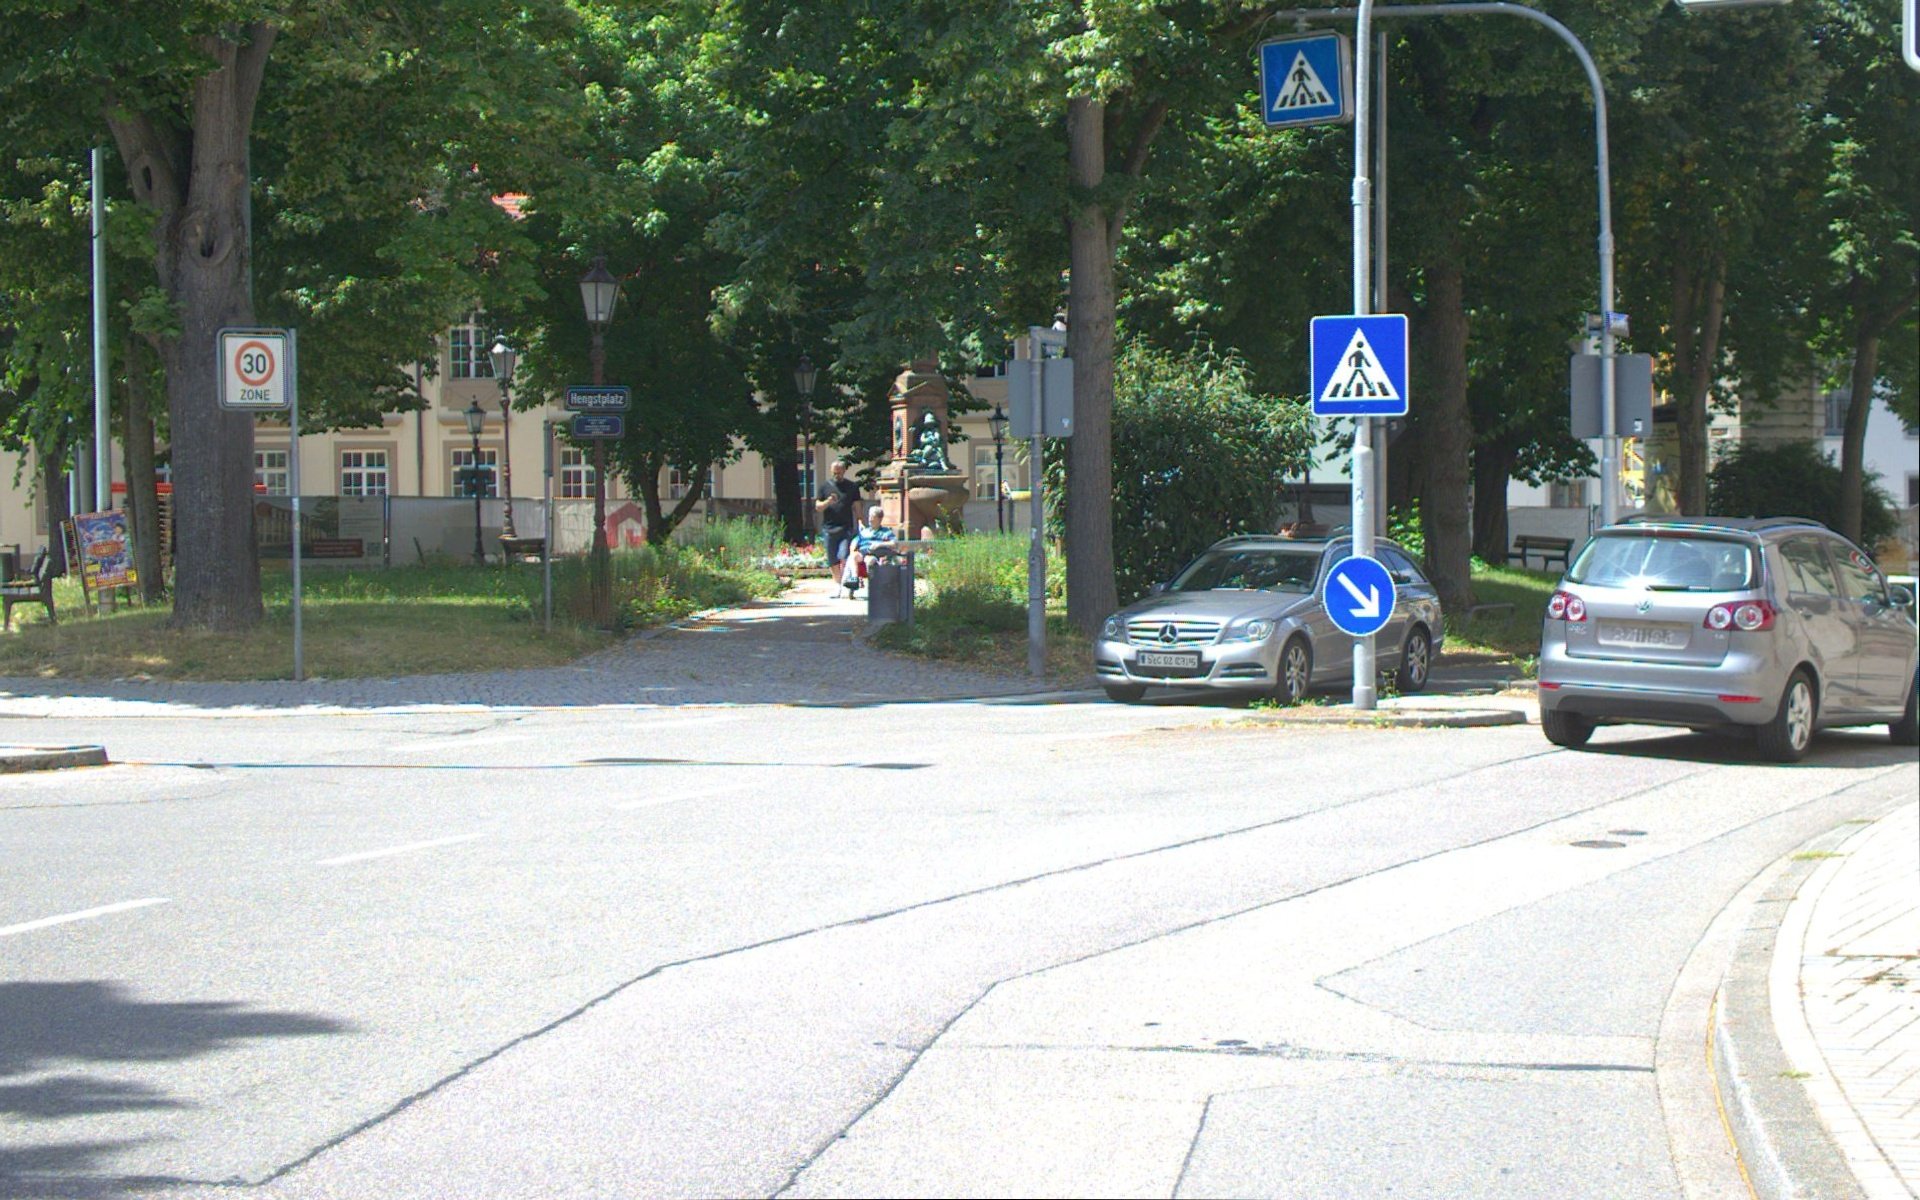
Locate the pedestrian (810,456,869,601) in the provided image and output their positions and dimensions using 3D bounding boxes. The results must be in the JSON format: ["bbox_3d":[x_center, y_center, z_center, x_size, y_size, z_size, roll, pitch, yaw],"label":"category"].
[{"bbox_3d":[-1.594,-0.950,45.626,0.748,1.904,0.684,0,3,1],"label":"pedestrian"}]

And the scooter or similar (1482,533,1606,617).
[{"bbox_3d":[8.245,-0.364,48.506,1.274,0.988,1.450,10,5,24],"label":"scooter or similar"}]

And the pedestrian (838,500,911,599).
[{"bbox_3d":[-1.107,-0.671,44.799,0.906,1.247,1.148,0,3,1],"label":"pedestrian"}]

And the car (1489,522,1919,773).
[{"bbox_3d":[5.375,0.245,23.834,1.907,1.528,4.236,2,2,30],"label":"car"}]

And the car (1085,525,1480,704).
[{"bbox_3d":[2.989,0.072,30.997,1.741,1.483,4.400,1,2,32],"label":"car"}]
